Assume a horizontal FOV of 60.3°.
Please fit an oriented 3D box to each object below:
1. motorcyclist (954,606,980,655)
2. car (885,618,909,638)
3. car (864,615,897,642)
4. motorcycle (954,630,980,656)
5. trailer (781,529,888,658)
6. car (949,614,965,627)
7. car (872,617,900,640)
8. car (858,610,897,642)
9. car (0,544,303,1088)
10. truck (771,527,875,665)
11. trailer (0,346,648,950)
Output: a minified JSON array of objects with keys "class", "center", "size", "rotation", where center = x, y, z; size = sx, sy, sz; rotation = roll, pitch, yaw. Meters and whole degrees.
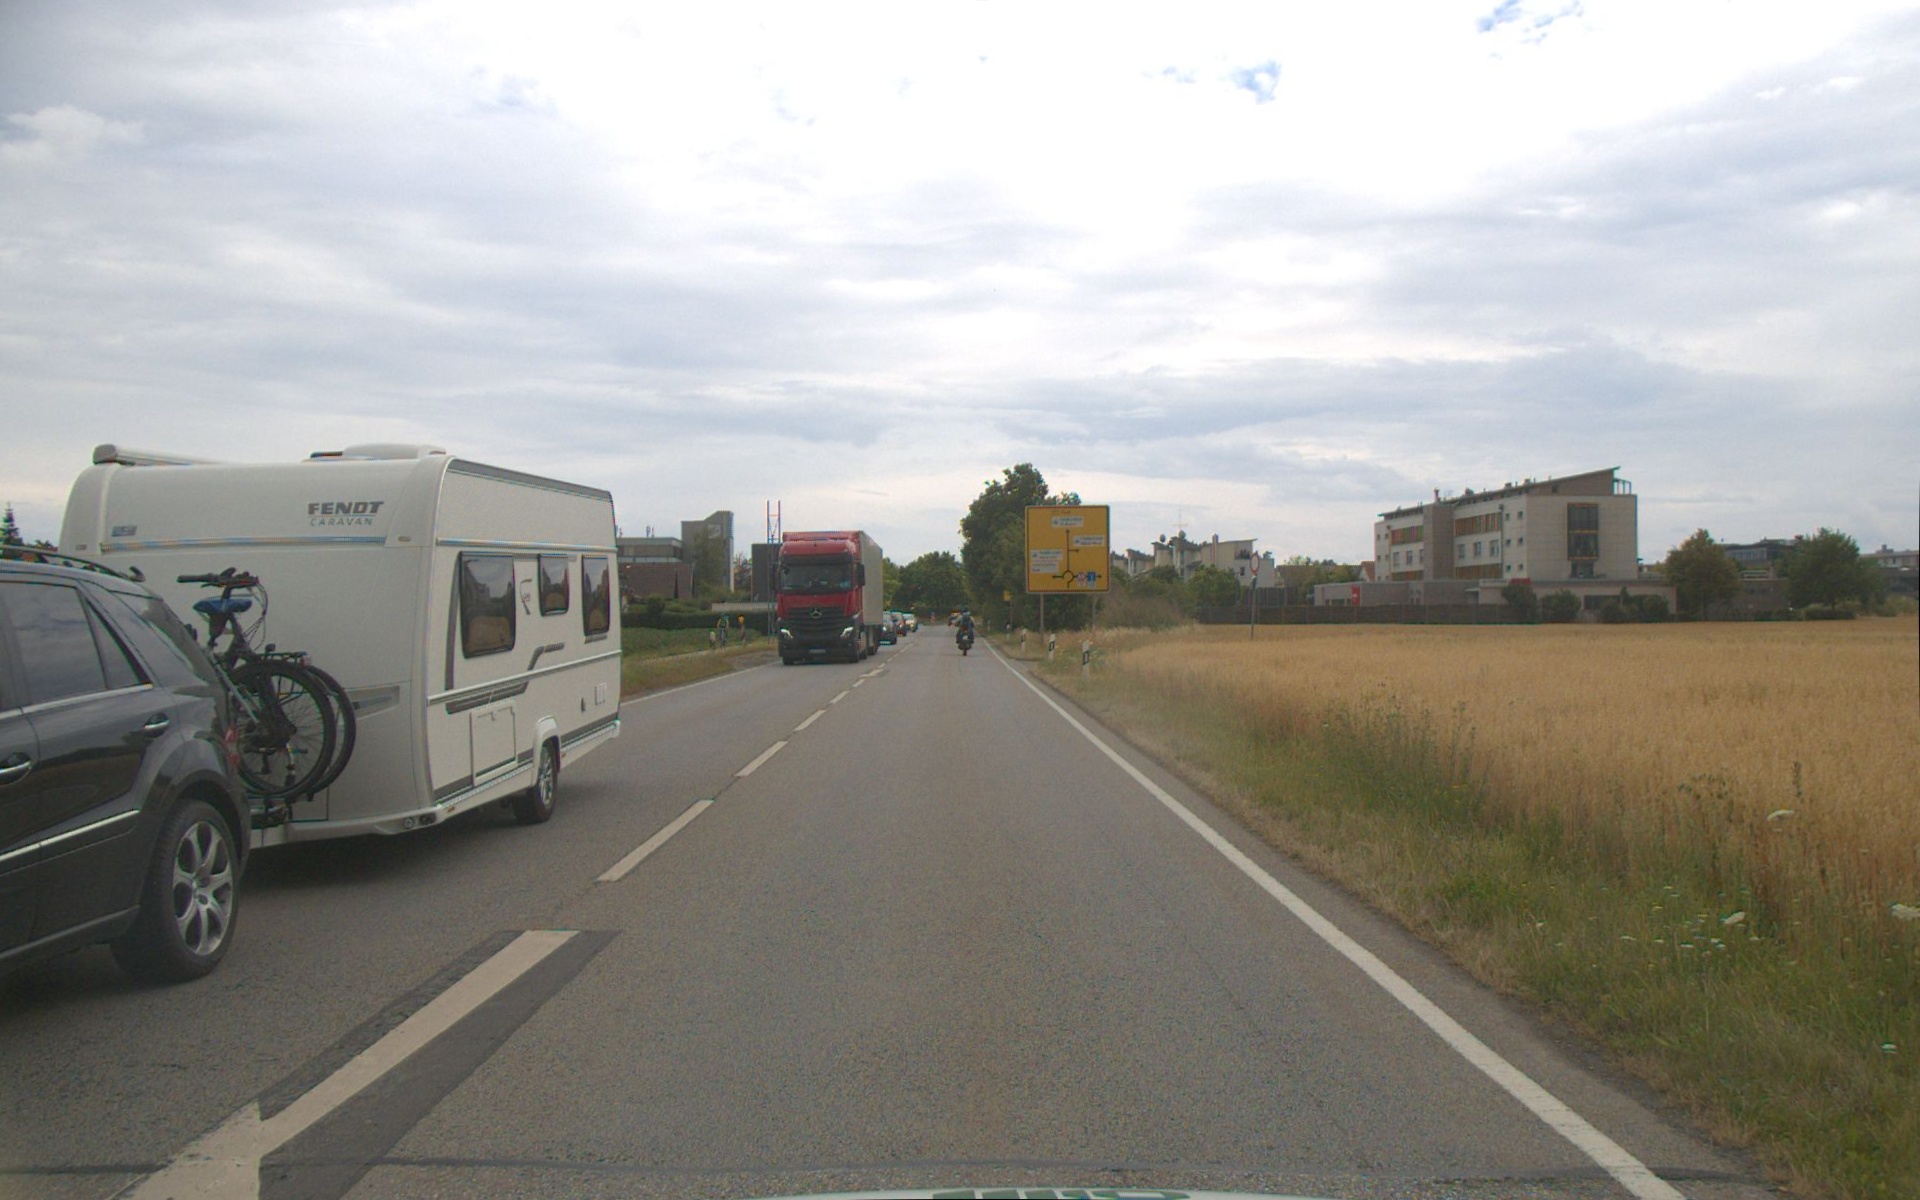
[{"class":"motorcyclist","center":[0.270,1.116,60.818],"size":[0.922,1.780,1.200],"rotation":[-1,-1,-1]},{"class":"car","center":[-5.041,2.236,132.551],"size":[1.818,1.498,3.998],"rotation":[-1,-1,-2]},{"class":"car","center":[-4.547,1.636,94.926],"size":[1.818,1.498,3.998],"rotation":[-1,-1,-2]},{"class":"motorcycle","center":[0.264,1.587,60.762],"size":[0.922,0.905,2.145],"rotation":[-1,-1,-1]},{"class":"trailer","center":[-4.270,-0.136,59.070],"size":[2.673,4.015,13.780],"rotation":[-1,-1,0]},{"class":"car","center":[-0.338,2.391,194.079],"size":[1.817,1.498,3.999],"rotation":[-1,-1,0]},{"class":"car","center":[-4.939,1.879,110.972],"size":[1.818,1.498,3.998],"rotation":[-1,-1,-2]},{"class":"car","center":[-4.035,1.268,81.159],"size":[1.818,1.498,3.998],"rotation":[-1,-1,-2]},{"class":"car","center":[-4.036,0.699,5.390],"size":[1.953,1.729,4.674],"rotation":[-1,0,-1]},{"class":"truck","center":[-4.272,-0.088,52.896],"size":[2.673,4.057,6.815],"rotation":[-1,-1,0]},{"class":"trailer","center":[-4.088,0.250,11.590],"size":[2.276,2.777,7.842],"rotation":[-1,0,0]}]
